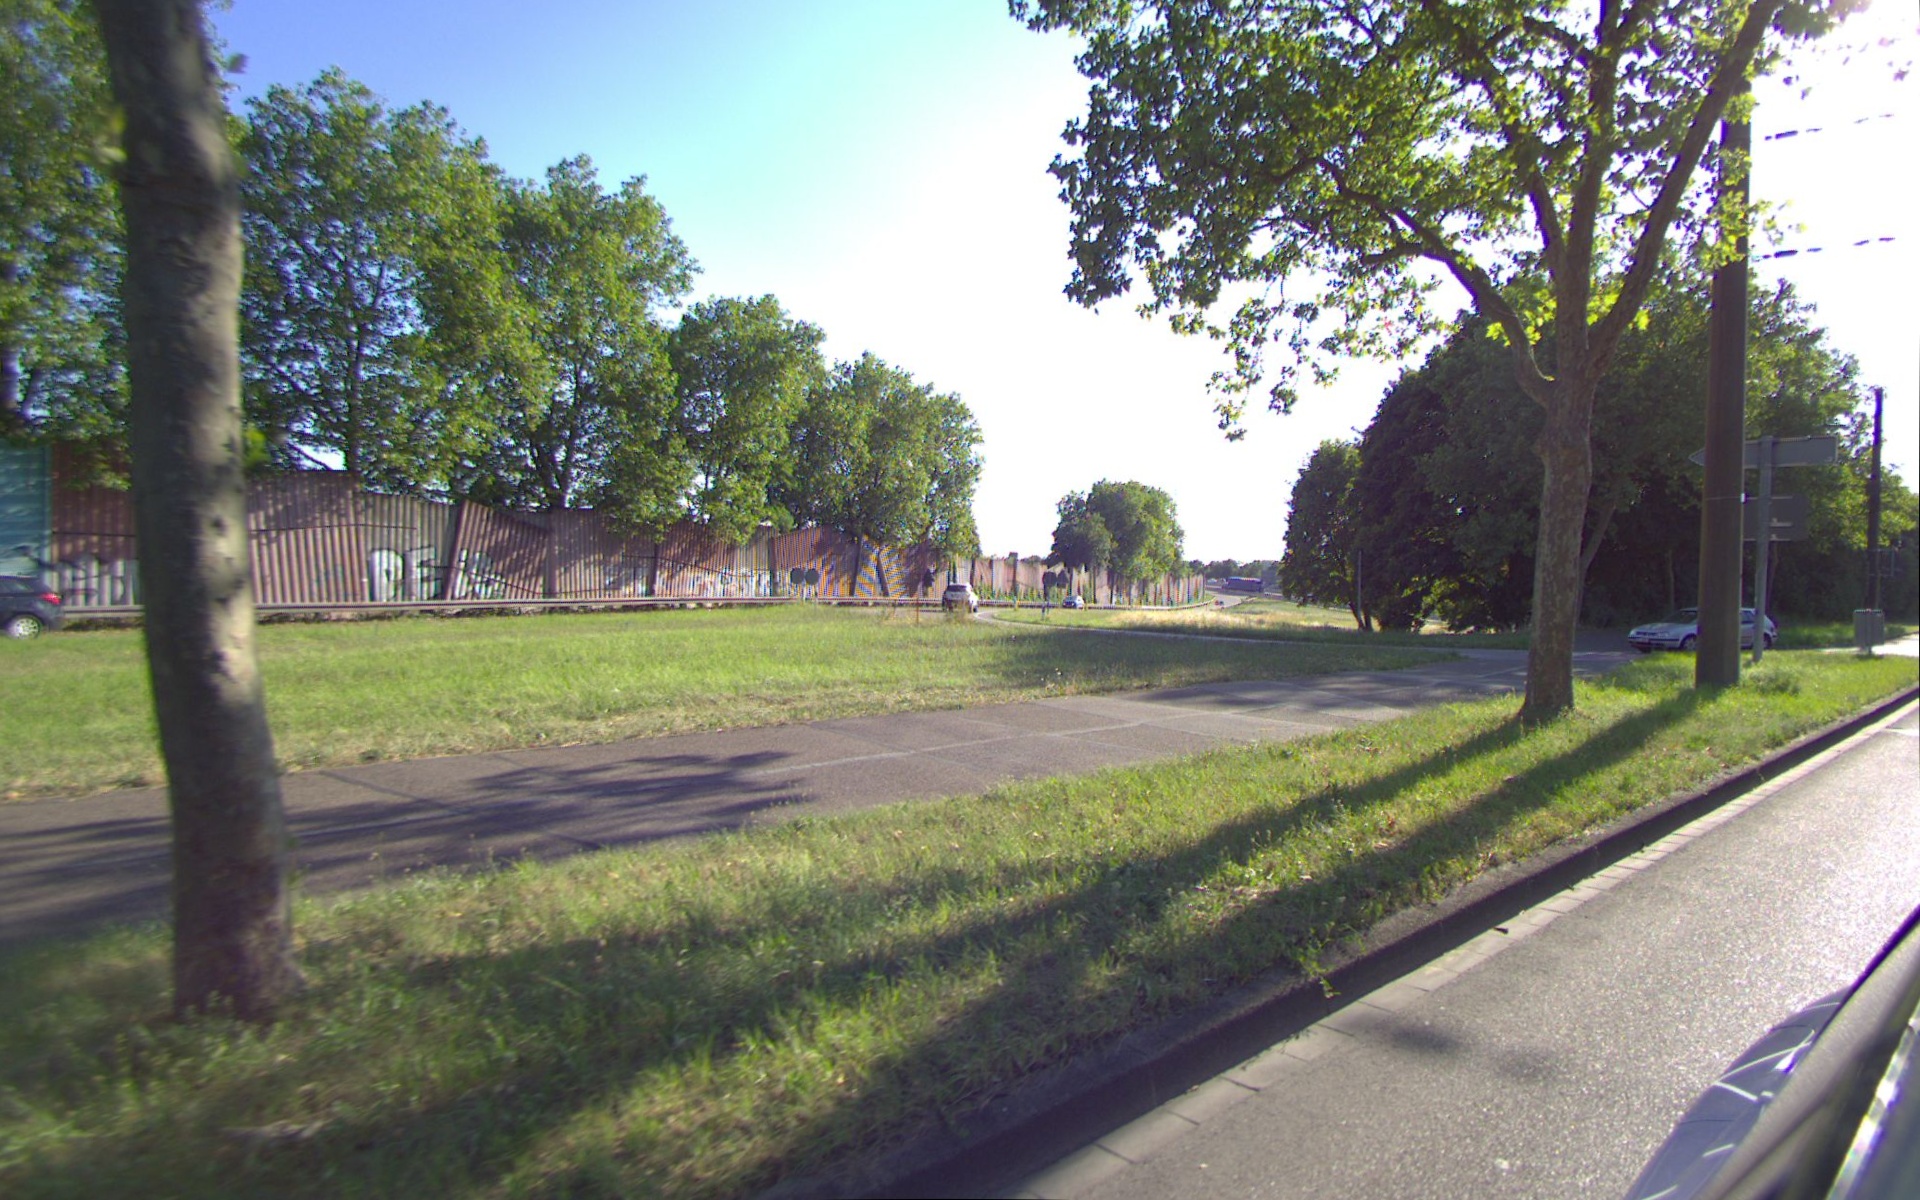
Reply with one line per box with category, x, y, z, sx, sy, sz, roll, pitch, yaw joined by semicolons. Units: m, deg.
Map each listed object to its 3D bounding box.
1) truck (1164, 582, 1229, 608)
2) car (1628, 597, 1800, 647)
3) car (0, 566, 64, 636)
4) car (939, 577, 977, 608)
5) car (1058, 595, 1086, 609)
truck;40.487;-0.919;173.278;10.483;3.536;2.634;6;3;21
car;22.817;0.650;30.711;4.053;1.435;1.696;0;1;-4
car;-21.146;0.031;20.482;1.779;1.458;4.190;0;1;24
car;-0.085;-0.471;60.914;1.785;1.795;3.853;0;1;9
car;11.815;0.205;106.364;1.778;1.458;4.191;0;1;23
